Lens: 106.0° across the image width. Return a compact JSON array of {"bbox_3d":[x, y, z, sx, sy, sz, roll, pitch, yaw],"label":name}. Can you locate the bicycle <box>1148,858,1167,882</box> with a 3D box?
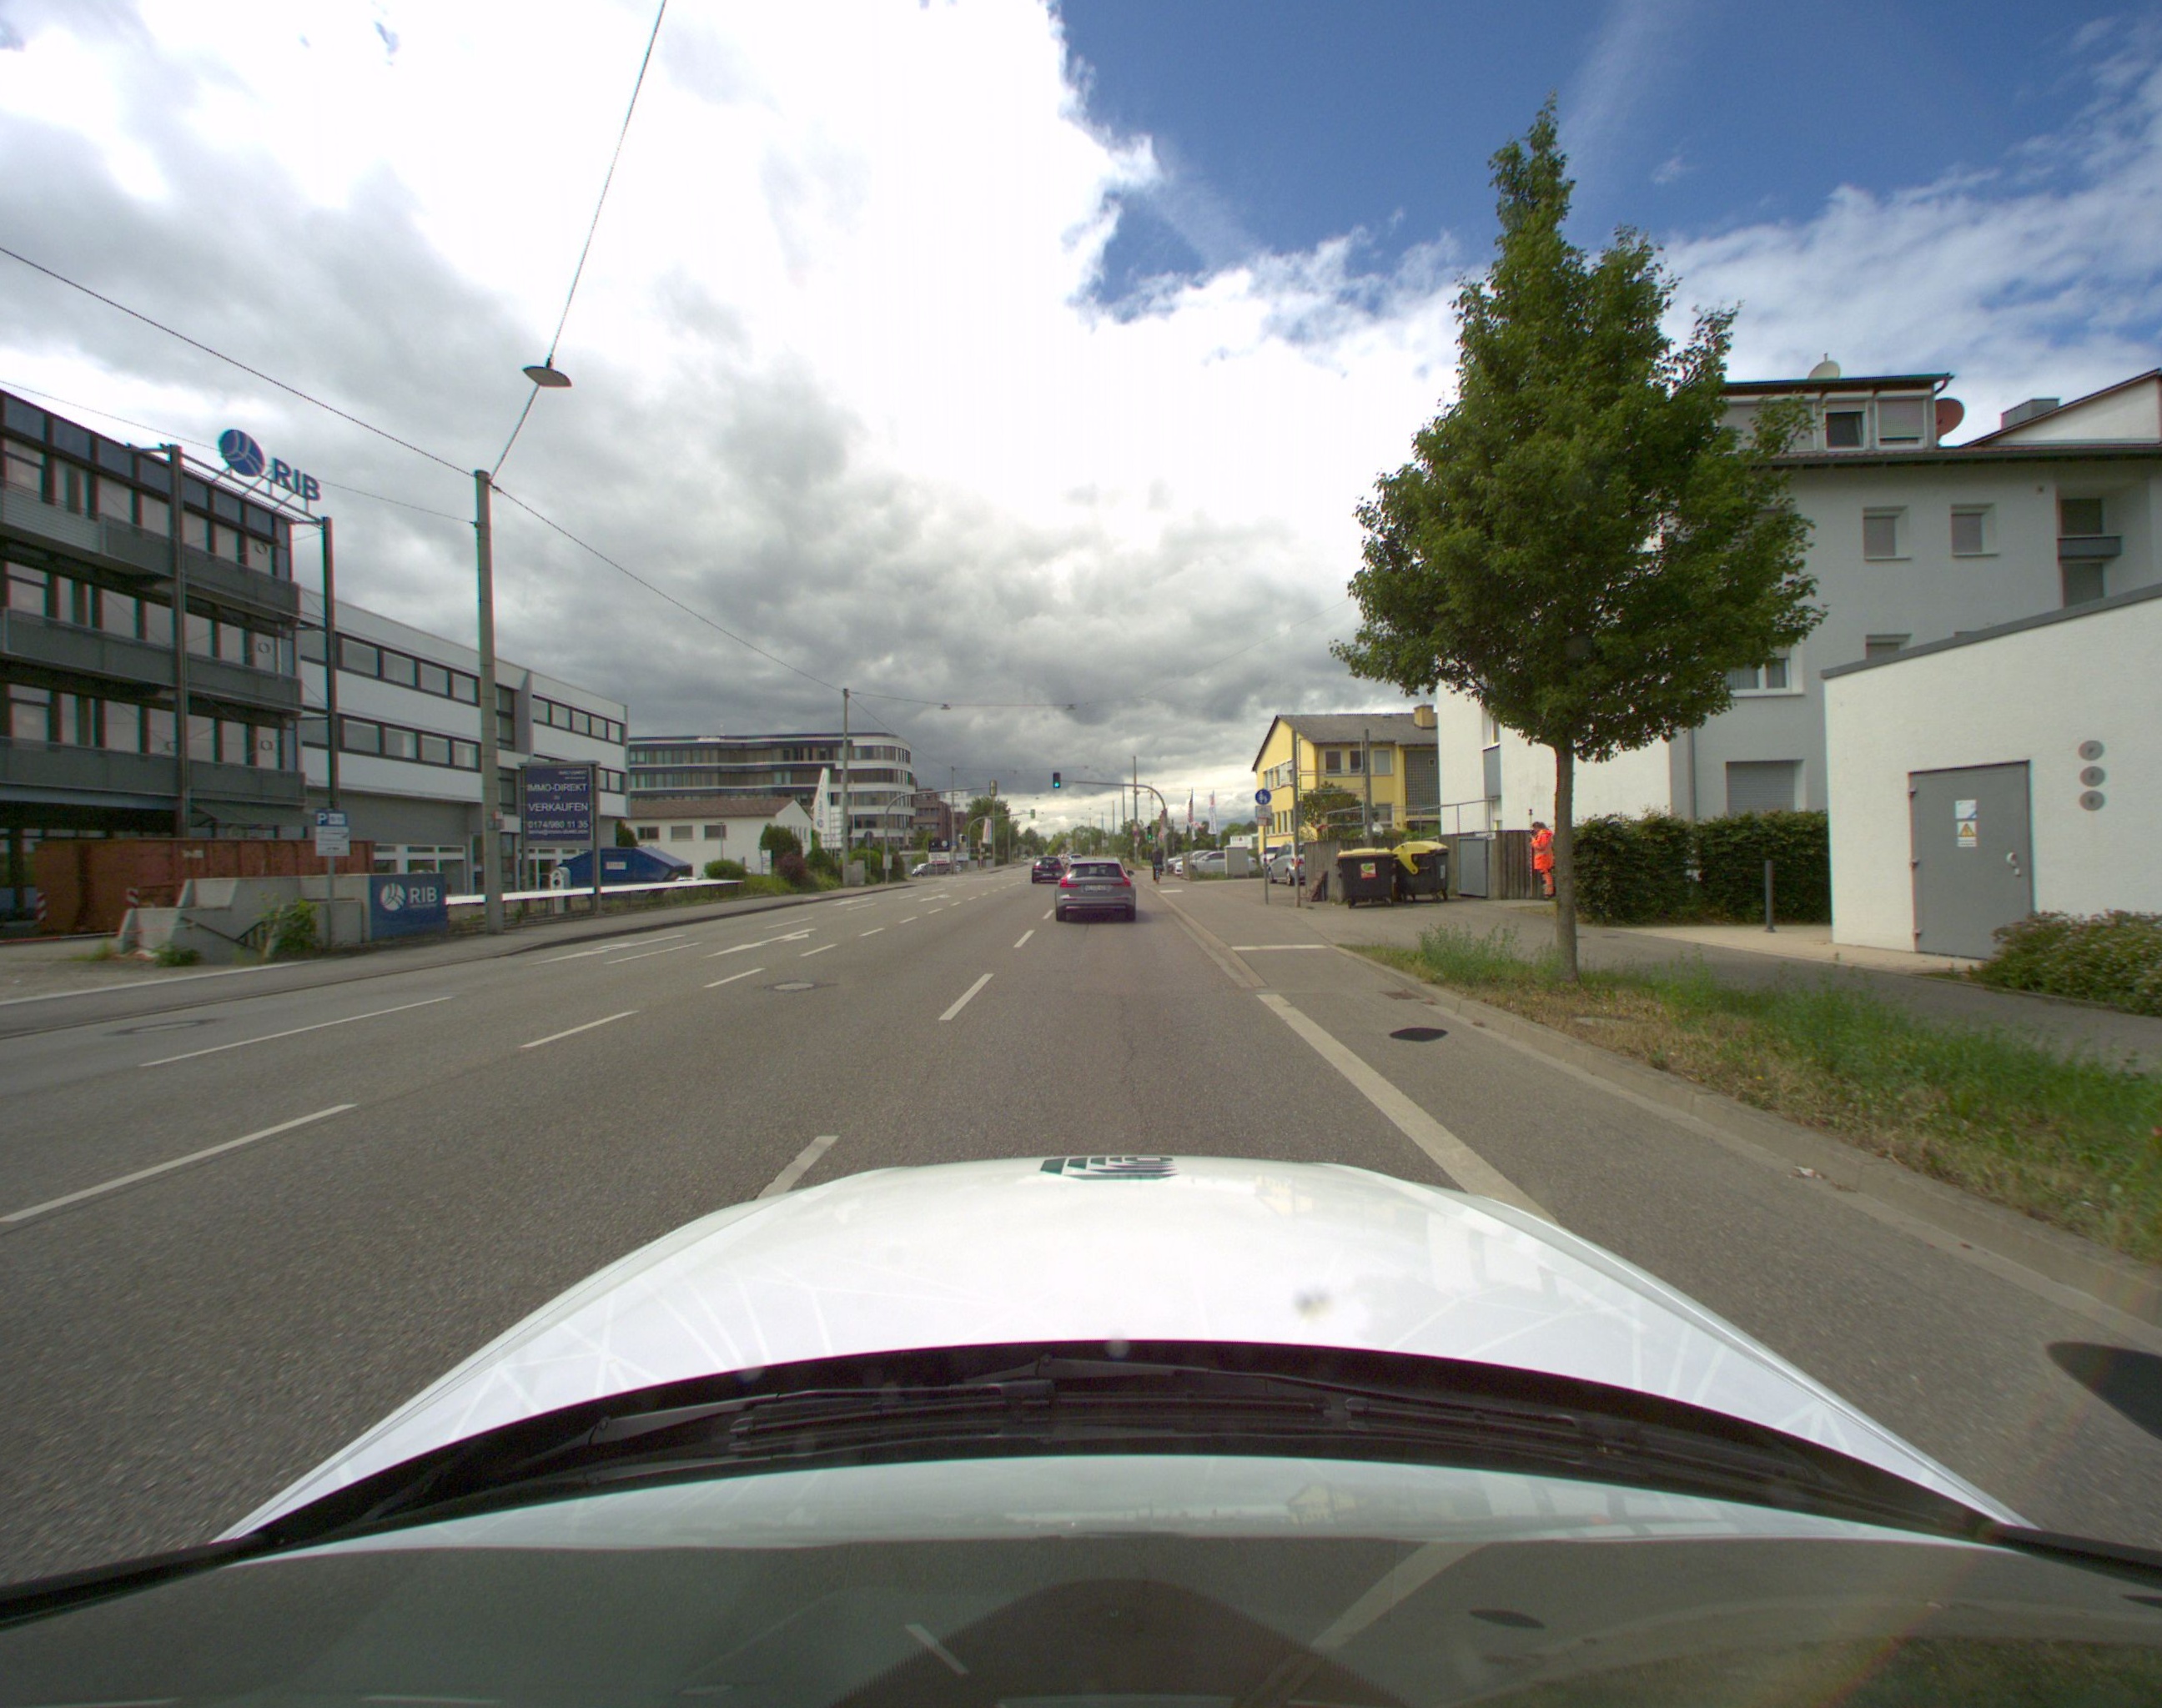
[{"bbox_3d":[3.634,0.747,38.751,0.635,1.063,1.978,-5,0,1],"label":"bicycle"}]

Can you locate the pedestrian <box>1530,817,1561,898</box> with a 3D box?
[{"bbox_3d":[10.308,0.070,18.089,0.503,1.765,0.503,0,-1,17],"label":"pedestrian"}]

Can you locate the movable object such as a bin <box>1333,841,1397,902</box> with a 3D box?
[{"bbox_3d":[6.621,0.411,19.066,1.309,1.361,1.257,-2,-1,17],"label":"movable object such as a bin"}]

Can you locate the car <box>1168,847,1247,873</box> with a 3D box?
[{"bbox_3d":[7.876,0.345,50.997,4.643,1.493,2.035,-1,0,0],"label":"car"}]

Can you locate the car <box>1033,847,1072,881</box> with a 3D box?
[{"bbox_3d":[-1.483,0.529,43.790,1.988,1.717,3.997,0,-1,-1],"label":"car"}]

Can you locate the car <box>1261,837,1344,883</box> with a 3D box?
[{"bbox_3d":[8.308,0.203,30.900,1.869,1.545,4.521,-2,0,0],"label":"car"}]

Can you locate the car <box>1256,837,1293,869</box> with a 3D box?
[{"bbox_3d":[12.002,-0.058,50.807,1.963,1.821,5.045,-2,-1,11],"label":"car"}]

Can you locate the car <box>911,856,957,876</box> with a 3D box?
[{"bbox_3d":[-14.236,1.174,79.190,4.089,1.397,1.904,-7,1,-7],"label":"car"}]

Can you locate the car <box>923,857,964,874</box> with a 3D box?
[{"bbox_3d":[-14.654,1.228,86.857,3.977,1.369,1.847,-8,-1,-2],"label":"car"}]

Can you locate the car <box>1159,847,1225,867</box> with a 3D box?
[{"bbox_3d":[8.042,0.211,59.403,4.659,1.493,2.016,0,0,2],"label":"car"}]

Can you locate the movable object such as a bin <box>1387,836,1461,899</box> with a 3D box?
[{"bbox_3d":[8.161,0.319,19.373,1.306,1.435,1.259,-3,-2,38],"label":"movable object such as a bin"}]

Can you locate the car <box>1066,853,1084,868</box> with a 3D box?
[{"bbox_3d":[-0.673,0.763,93.417,1.987,1.695,4.000,0,-1,0],"label":"car"}]

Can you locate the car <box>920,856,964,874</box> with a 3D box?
[{"bbox_3d":[-14.340,1.144,84.312,4.217,1.387,1.981,-8,-1,-5],"label":"car"}]

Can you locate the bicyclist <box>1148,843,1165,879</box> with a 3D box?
[{"bbox_3d":[3.589,0.329,38.787,0.636,1.675,0.890,-5,0,1],"label":"bicyclist"}]

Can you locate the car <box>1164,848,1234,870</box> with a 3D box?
[{"bbox_3d":[7.776,0.335,53.873,4.356,1.404,1.988,0,0,-1],"label":"car"}]

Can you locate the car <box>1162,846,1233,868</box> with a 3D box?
[{"bbox_3d":[8.069,0.193,56.715,4.782,1.480,2.033,0,0,2],"label":"car"}]

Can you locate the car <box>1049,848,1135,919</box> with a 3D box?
[{"bbox_3d":[0.343,0.676,19.927,1.888,1.554,4.002,0,-1,3],"label":"car"}]

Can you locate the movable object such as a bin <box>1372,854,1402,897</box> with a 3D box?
[{"bbox_3d":[7.480,0.517,19.907,0.561,1.026,0.408,-3,-2,38],"label":"movable object such as a bin"}]

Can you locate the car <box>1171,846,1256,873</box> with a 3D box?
[{"bbox_3d":[7.762,0.310,48.120,4.681,1.493,2.045,-1,1,0],"label":"car"}]
